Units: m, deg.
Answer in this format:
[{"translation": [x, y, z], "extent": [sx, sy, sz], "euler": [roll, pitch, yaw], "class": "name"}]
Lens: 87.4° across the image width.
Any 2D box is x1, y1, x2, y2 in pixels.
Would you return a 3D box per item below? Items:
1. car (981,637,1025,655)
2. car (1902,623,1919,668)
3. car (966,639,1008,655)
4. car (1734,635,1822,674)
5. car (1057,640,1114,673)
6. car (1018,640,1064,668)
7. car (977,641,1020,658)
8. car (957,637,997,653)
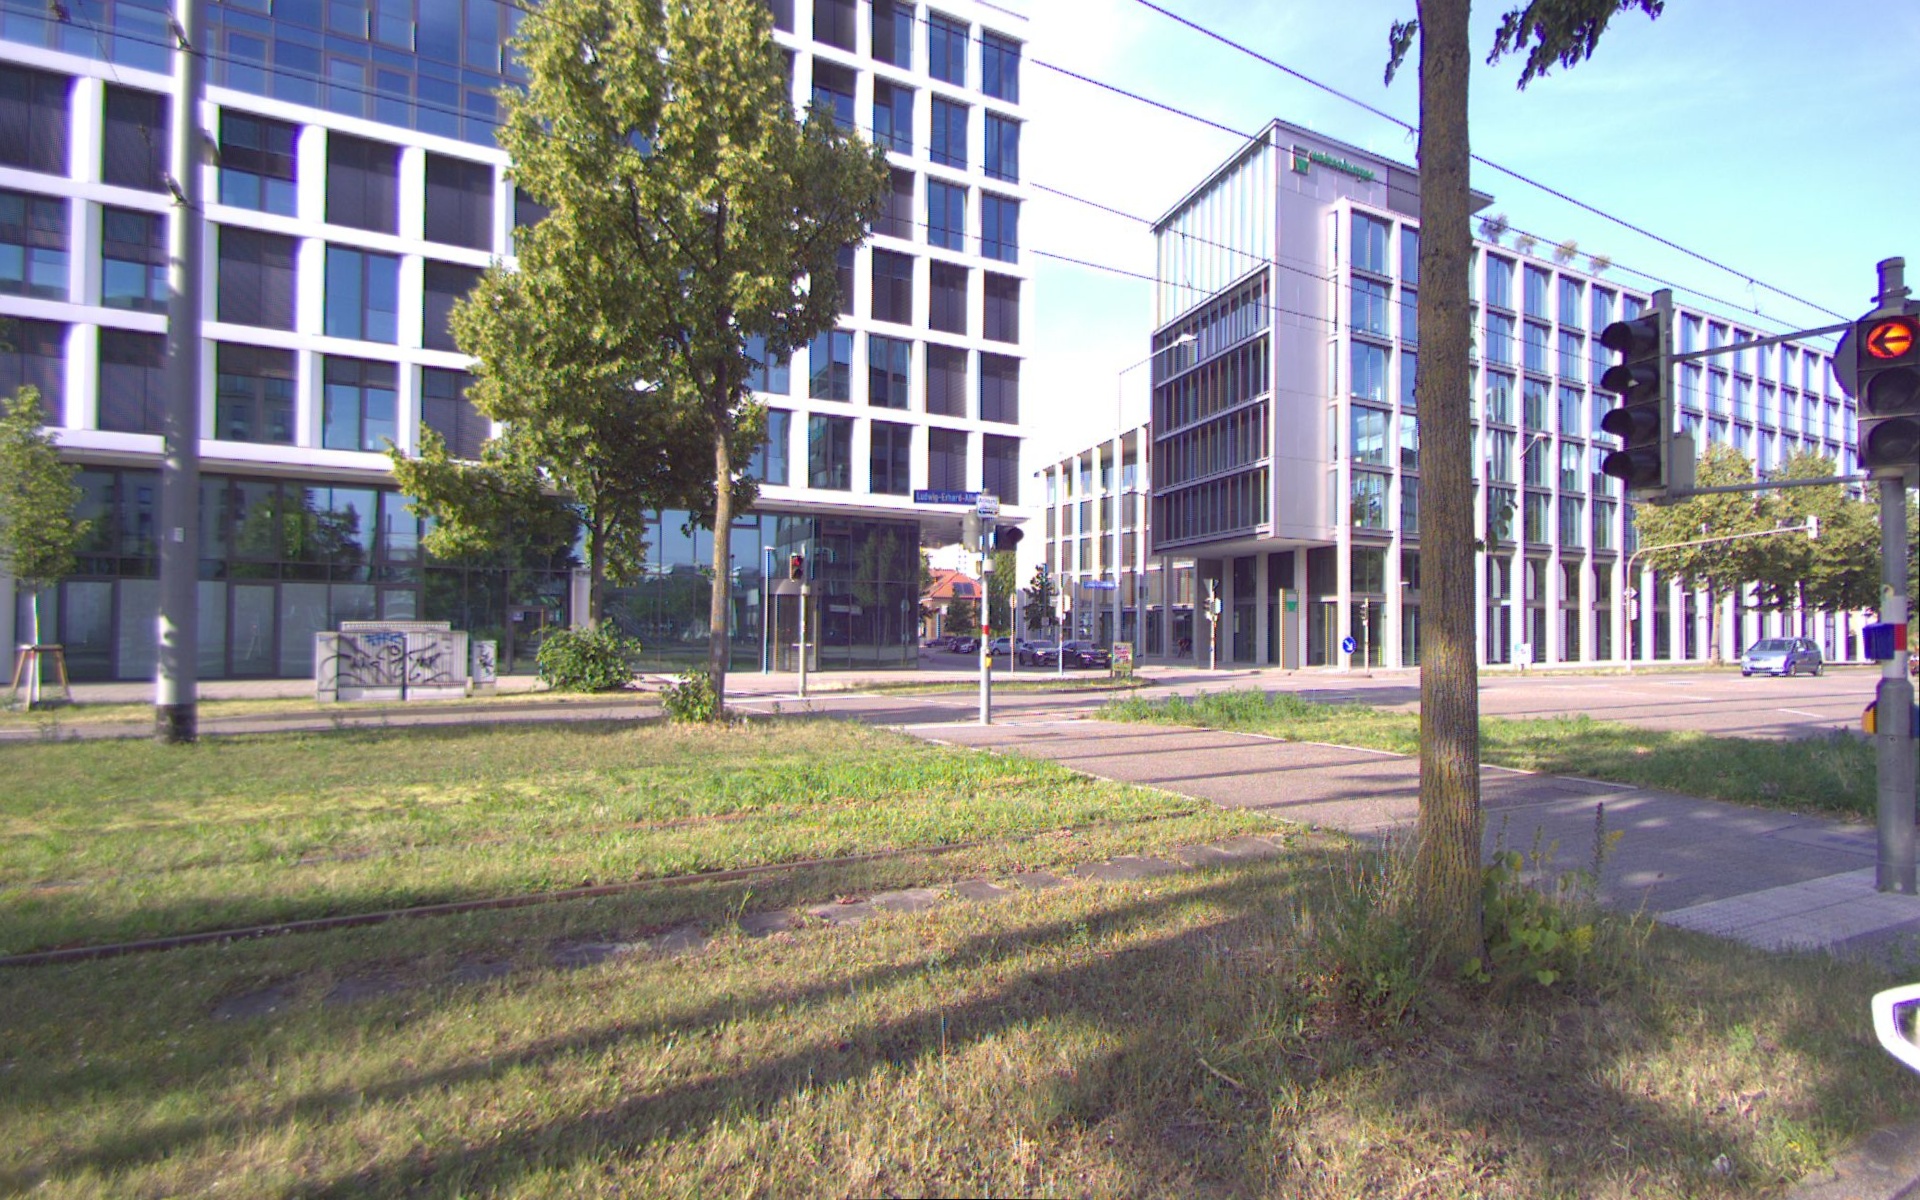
[{"translation": [3.683, 3.972, 86.528], "extent": [3.535, 1.417, 1.524], "euler": [2, 0, -14], "class": "car"}, {"translation": [40.373, 1.902, 41.149], "extent": [3.841, 1.799, 1.674], "euler": [2, 0, -33], "class": "car"}, {"translation": [2.513, 4.359, 93.373], "extent": [3.614, 1.416, 1.550], "euler": [2, 0, -14], "class": "car"}, {"translation": [33.196, 2.205, 40.727], "extent": [3.914, 1.462, 1.629], "euler": [2, 0, -33], "class": "car"}, {"translation": [6.367, 2.868, 51.280], "extent": [1.551, 1.443, 3.498], "euler": [2, 0, -18], "class": "car"}, {"translation": [4.653, 3.098, 58.096], "extent": [1.549, 1.443, 3.668], "euler": [2, 0, -14], "class": "car"}, {"translation": [3.448, 4.392, 89.355], "extent": [3.535, 1.313, 1.524], "euler": [2, 0, -14], "class": "car"}, {"translation": [1.641, 4.349, 96.710], "extent": [3.614, 1.416, 1.550], "euler": [2, 0, -14], "class": "car"}]
